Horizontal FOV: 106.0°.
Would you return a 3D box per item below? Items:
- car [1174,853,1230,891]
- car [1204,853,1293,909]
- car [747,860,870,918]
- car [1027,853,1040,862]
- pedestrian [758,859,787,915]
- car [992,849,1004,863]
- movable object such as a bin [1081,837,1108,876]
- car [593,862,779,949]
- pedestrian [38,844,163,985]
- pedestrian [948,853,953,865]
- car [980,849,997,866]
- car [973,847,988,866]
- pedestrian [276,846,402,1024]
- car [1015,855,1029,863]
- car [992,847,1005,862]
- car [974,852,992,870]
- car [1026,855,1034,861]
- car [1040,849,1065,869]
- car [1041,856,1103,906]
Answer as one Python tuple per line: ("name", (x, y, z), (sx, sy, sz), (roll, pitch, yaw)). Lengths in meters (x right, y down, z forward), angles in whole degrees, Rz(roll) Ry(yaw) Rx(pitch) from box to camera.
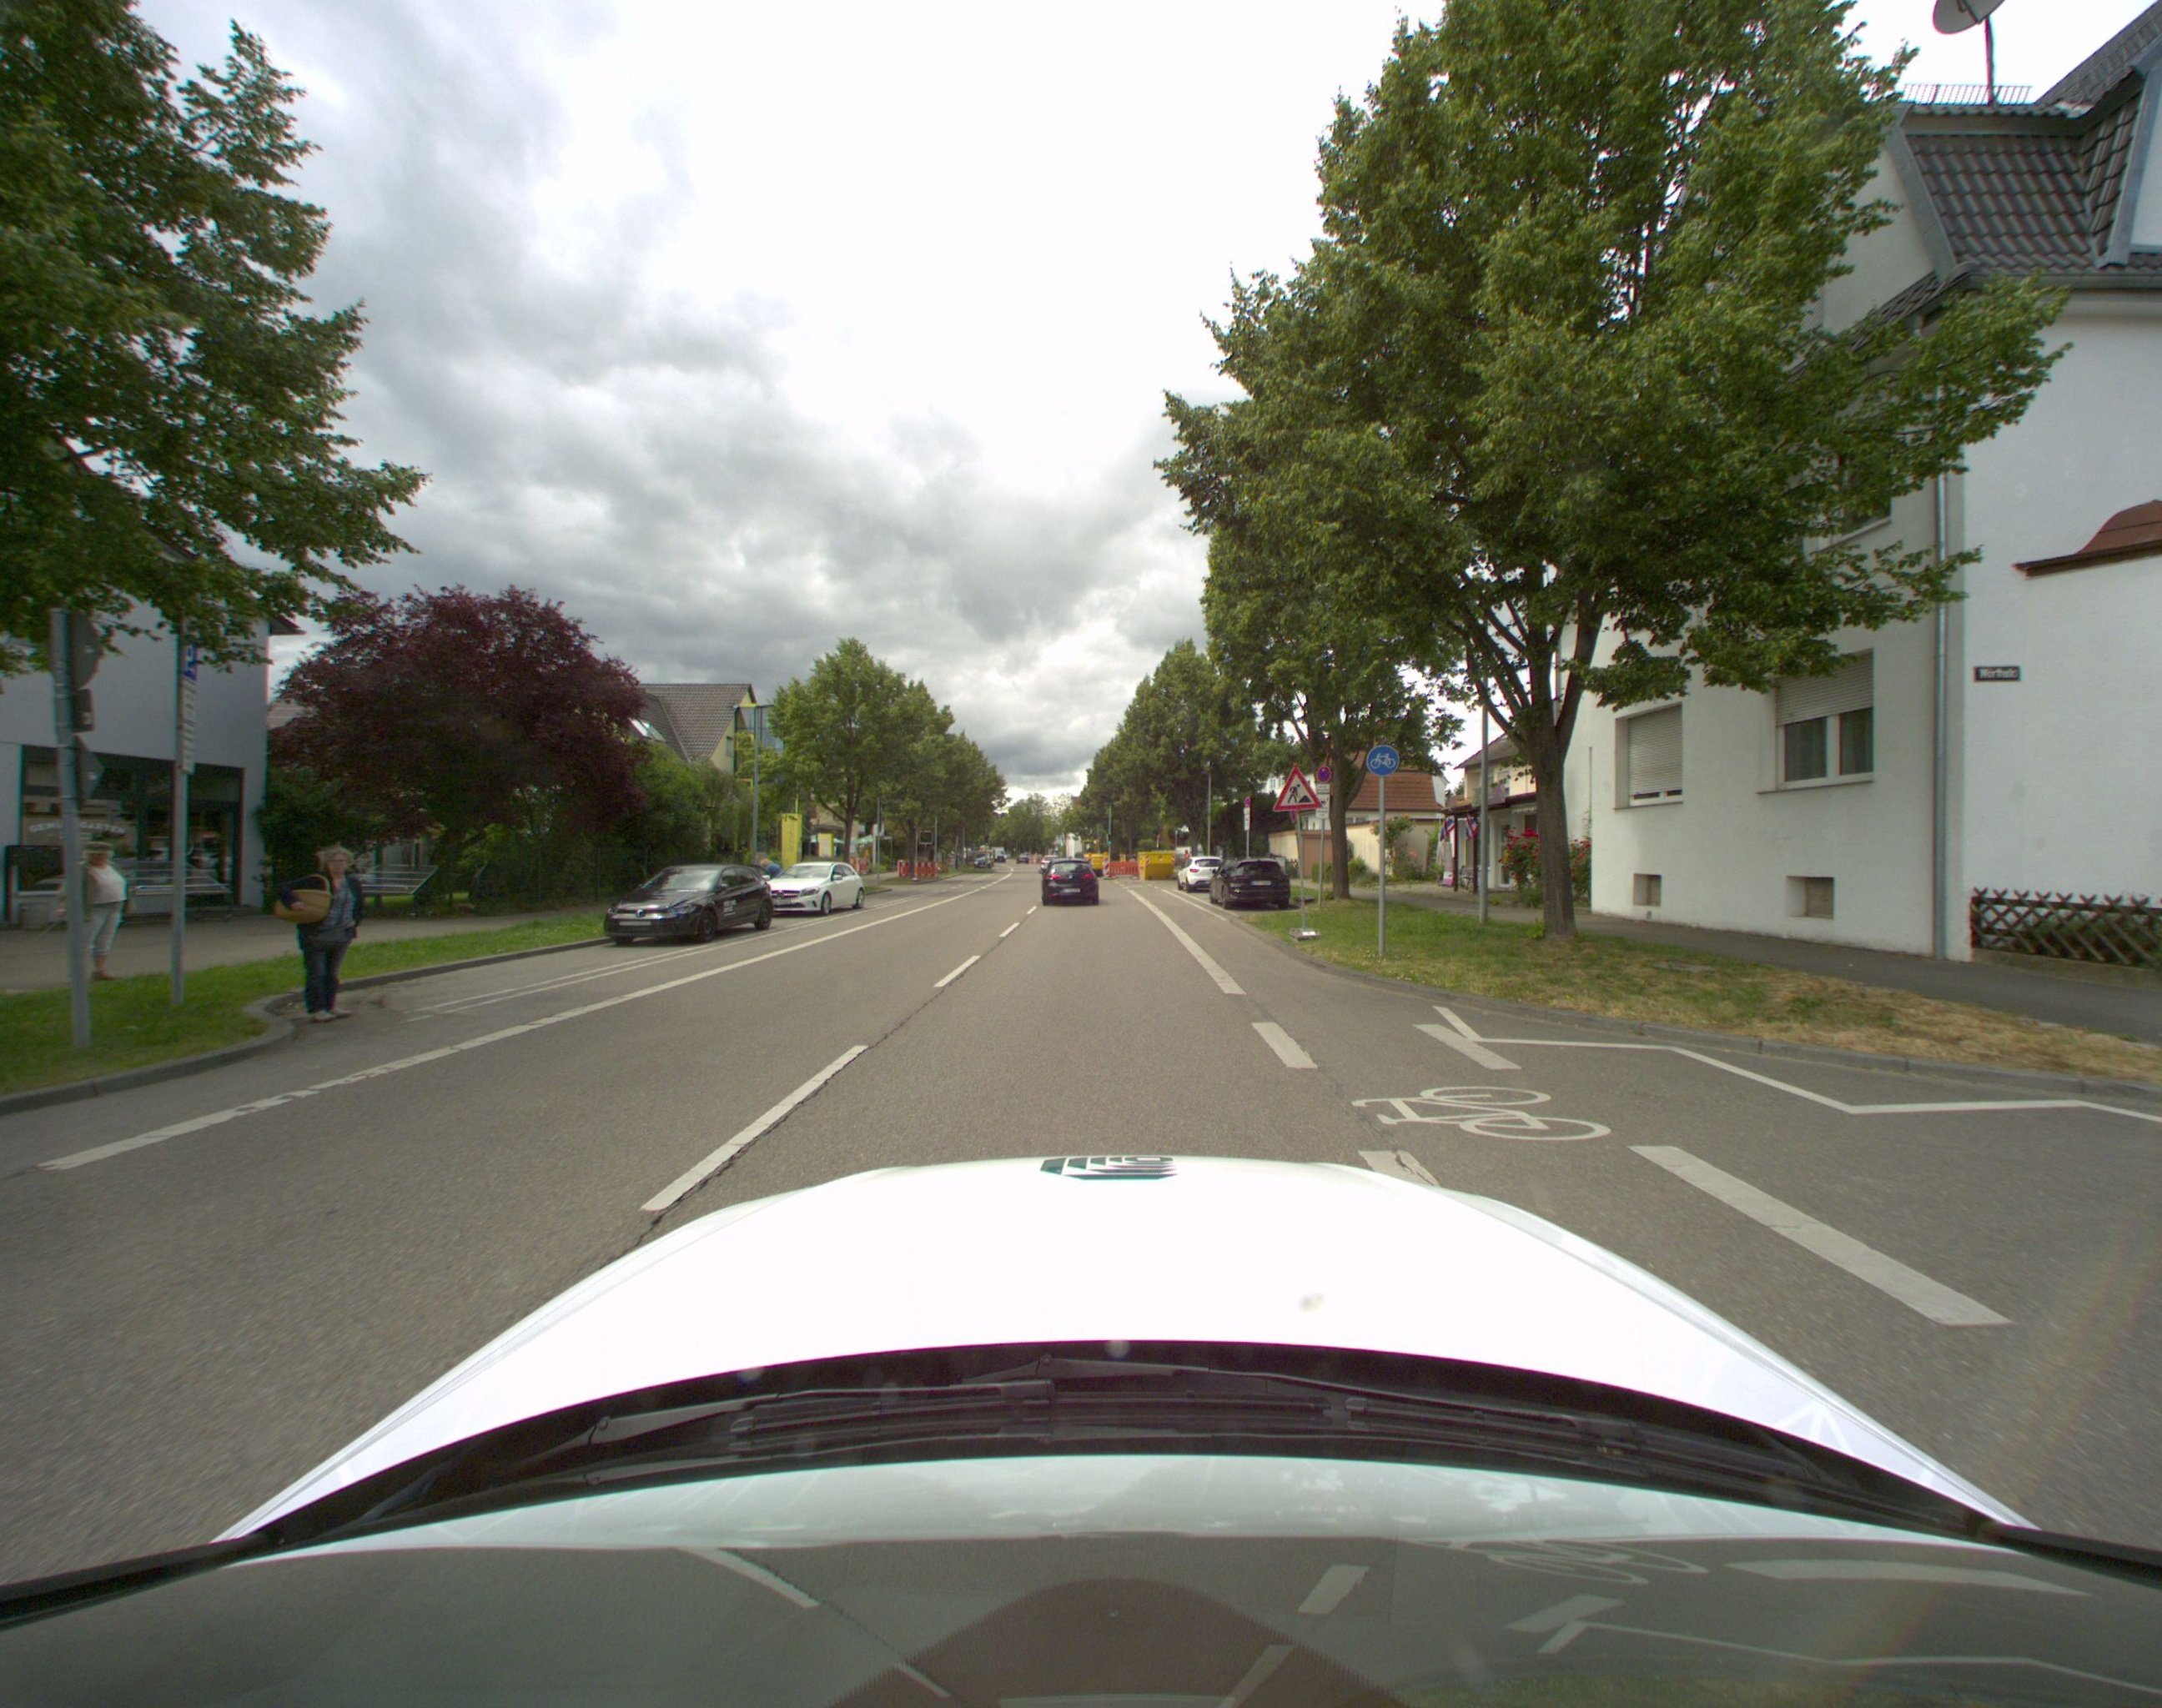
("car", (4.918, 0.712, 33.574), (1.667, 1.462, 3.999), (-1, 0, -1))
("car", (4.754, 0.720, 23.735), (1.699, 1.454, 4.617), (-1, 0, 1))
("car", (-7.432, 0.893, 22.671), (1.707, 1.406, 4.304), (-1, 0, 4))
("car", (-8.046, 0.562, 137.330), (1.810, 1.415, 3.681), (0, 0, -9))
("pedestrian", (-8.573, 0.894, 22.624), (0.586, 1.529, 0.692), (0, 0, -34))
("car", (-14.847, 0.330, 146.459), (2.026, 2.385, 5.251), (-1, 0, -6))
("movable object such as a bin", (0.904, 0.150, 55.743), (1.763, 2.574, 3.739), (0, 0, 0))
("car", (-7.585, 0.913, 16.105), (1.637, 1.420, 4.021), (-1, 0, 1))
("pedestrian", (-11.289, 0.666, 9.403), (0.428, 1.552, 0.806), (0, 0, 2))
("pedestrian", (-18.987, 0.660, 118.324), (0.595, 1.741, 0.573), (0, 0, -7))
("car", (-11.886, 0.409, 104.976), (2.090, 2.175, 5.034), (0, 0, -6))
("car", (-14.194, 0.359, 115.242), (2.090, 2.626, 5.034), (0, 0, -6))
("pedestrian", (-7.423, 0.767, 8.170), (0.539, 1.681, 0.752), (1, 1, 10))
("car", (-9.517, 0.789, 130.724), (1.810, 1.375, 3.680), (0, 0, -10))
("car", (-15.500, 0.129, 152.604), (2.284, 2.792, 7.129), (-1, 0, -5))
("car", (-9.970, 0.674, 82.961), (1.665, 1.772, 4.459), (-1, 0, -6))
("car", (-11.154, 0.841, 178.809), (1.806, 1.415, 3.688), (0, 0, -4))
("car", (-2.424, 0.431, 70.294), (1.898, 1.685, 3.741), (-1, 0, 2))
("car", (-0.258, 0.805, 26.060), (1.813, 1.437, 3.739), (-1, 0, 0))
